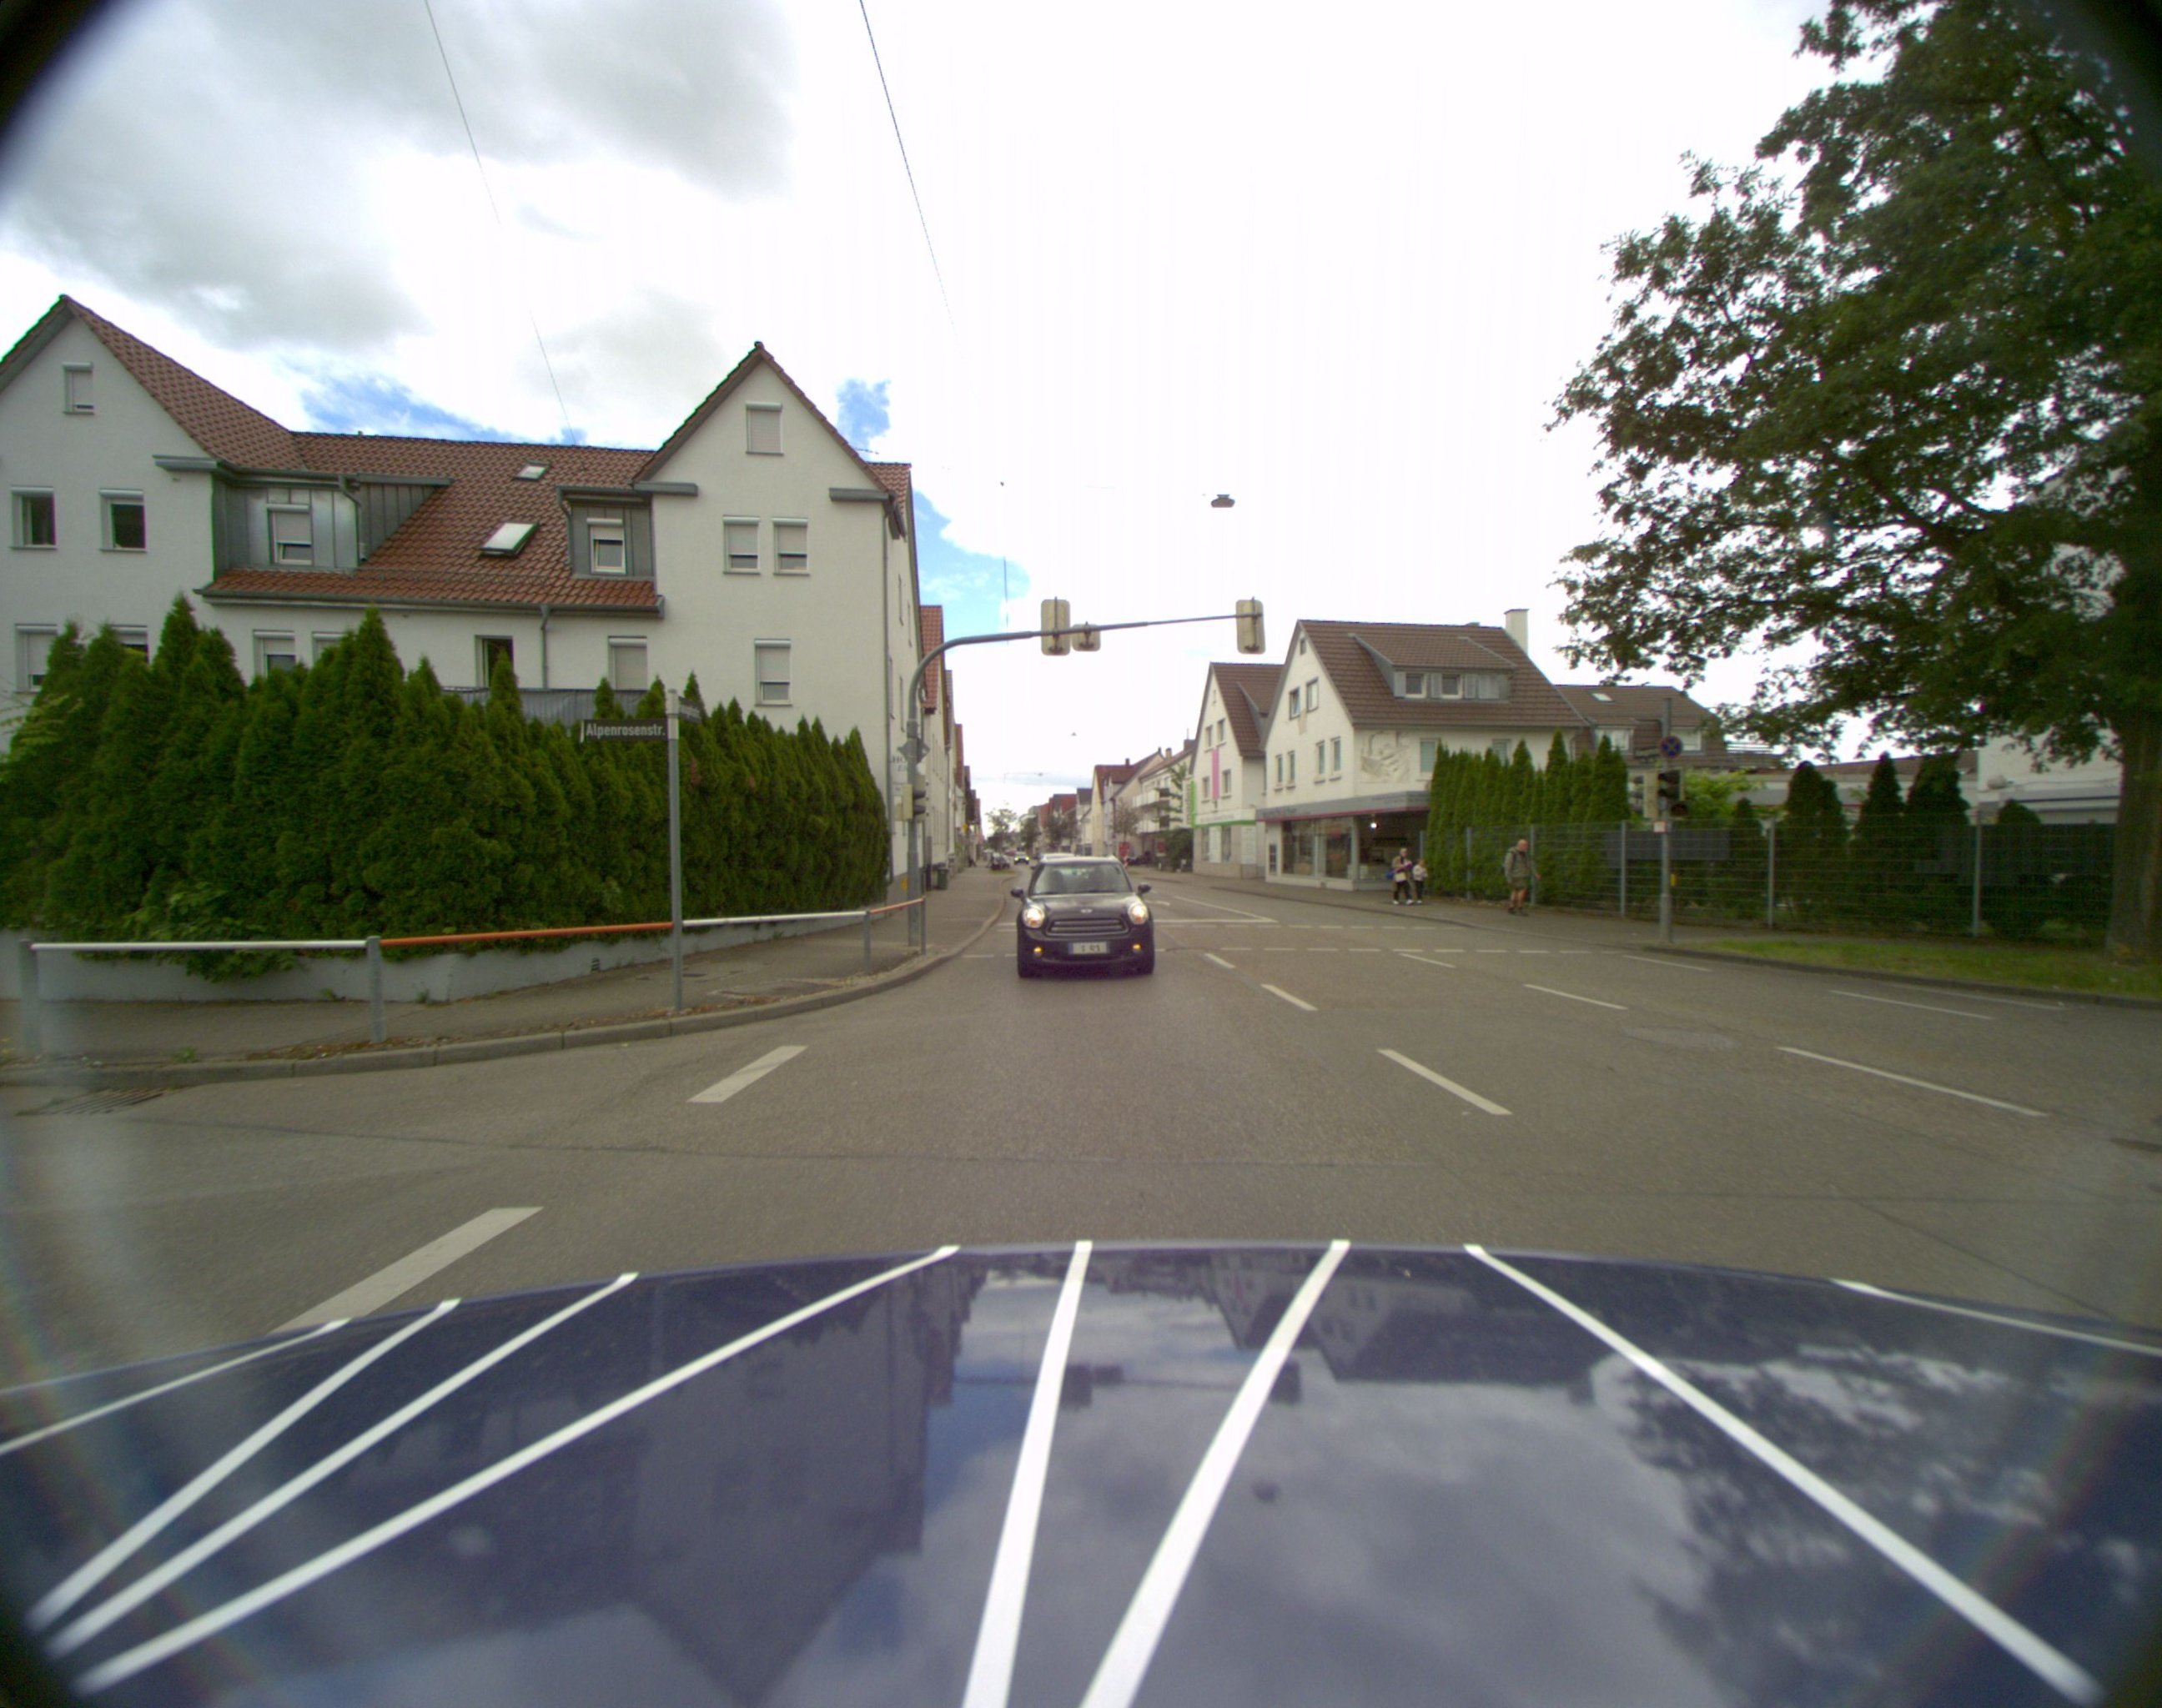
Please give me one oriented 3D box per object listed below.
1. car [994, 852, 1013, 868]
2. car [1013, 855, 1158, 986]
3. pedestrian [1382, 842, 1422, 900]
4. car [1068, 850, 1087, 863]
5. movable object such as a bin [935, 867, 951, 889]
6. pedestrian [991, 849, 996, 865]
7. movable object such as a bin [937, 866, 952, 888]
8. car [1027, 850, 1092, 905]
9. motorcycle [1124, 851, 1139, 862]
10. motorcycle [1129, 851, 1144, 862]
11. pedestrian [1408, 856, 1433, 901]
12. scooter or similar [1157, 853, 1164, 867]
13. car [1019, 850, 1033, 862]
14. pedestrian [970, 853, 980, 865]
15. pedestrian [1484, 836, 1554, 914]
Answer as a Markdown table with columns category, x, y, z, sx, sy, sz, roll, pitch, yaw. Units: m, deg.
| category | x | y | z | sx | sy | sz | roll | pitch | yaw |
| --- | --- | --- | --- | --- | --- | --- | --- | --- | --- |
| car | -8.067 | 0.590 | 79.084 | 1.847 | 1.510 | 3.997 | -2 | 1 | -7 |
| car | -0.103 | 0.794 | 11.007 | 1.694 | 1.506 | 3.998 | -1 | 0 | -5 |
| pedestrian | 9.217 | 0.470 | 21.837 | 0.642 | 1.596 | 0.865 | -2 | 2 | -16 |
| car | -0.412 | 0.283 | 87.706 | 1.635 | 1.404 | 3.996 | 0 | 0 | -9 |
| movable object such as a bin | -5.674 | 0.978 | 31.243 | 0.566 | 0.898 | 0.519 | 0 | 1 | -5 |
| pedestrian | -9.621 | 0.337 | 83.278 | 0.497 | 1.744 | 0.451 | 0 | 1 | -5 |
| movable object such as a bin | -5.732 | 0.968 | 31.843 | 0.566 | 0.898 | 0.519 | 0 | 1 | -5 |
| car | -0.852 | 0.741 | 26.925 | 1.812 | 1.556 | 4.613 | -2 | 3 | -7 |
| motorcycle | 5.161 | 0.247 | 78.009 | 1.515 | 1.099 | 0.589 | -2 | 1 | 0 |
| motorcycle | 5.664 | 0.238 | 77.254 | 1.430 | 1.017 | 0.525 | -3 | 1 | -6 |
| pedestrian | 9.778 | 0.696 | 21.899 | 0.383 | 1.254 | 0.549 | -2 | 2 | -16 |
| scooter or similar | 6.245 | 0.458 | 59.660 | 0.465 | 1.117 | 1.829 | -1 | 0 | 9 |
| car | -7.451 | 0.230 | 102.698 | 1.847 | 1.510 | 3.997 | -2 | 1 | -6 |
| pedestrian | -11.522 | 0.533 | 82.407 | 0.982 | 1.272 | 0.667 | 0 | 1 | 6 |
| pedestrian | 10.202 | 0.465 | 17.744 | 0.824 | 1.744 | 1.229 | -2 | 1 | -5 |
